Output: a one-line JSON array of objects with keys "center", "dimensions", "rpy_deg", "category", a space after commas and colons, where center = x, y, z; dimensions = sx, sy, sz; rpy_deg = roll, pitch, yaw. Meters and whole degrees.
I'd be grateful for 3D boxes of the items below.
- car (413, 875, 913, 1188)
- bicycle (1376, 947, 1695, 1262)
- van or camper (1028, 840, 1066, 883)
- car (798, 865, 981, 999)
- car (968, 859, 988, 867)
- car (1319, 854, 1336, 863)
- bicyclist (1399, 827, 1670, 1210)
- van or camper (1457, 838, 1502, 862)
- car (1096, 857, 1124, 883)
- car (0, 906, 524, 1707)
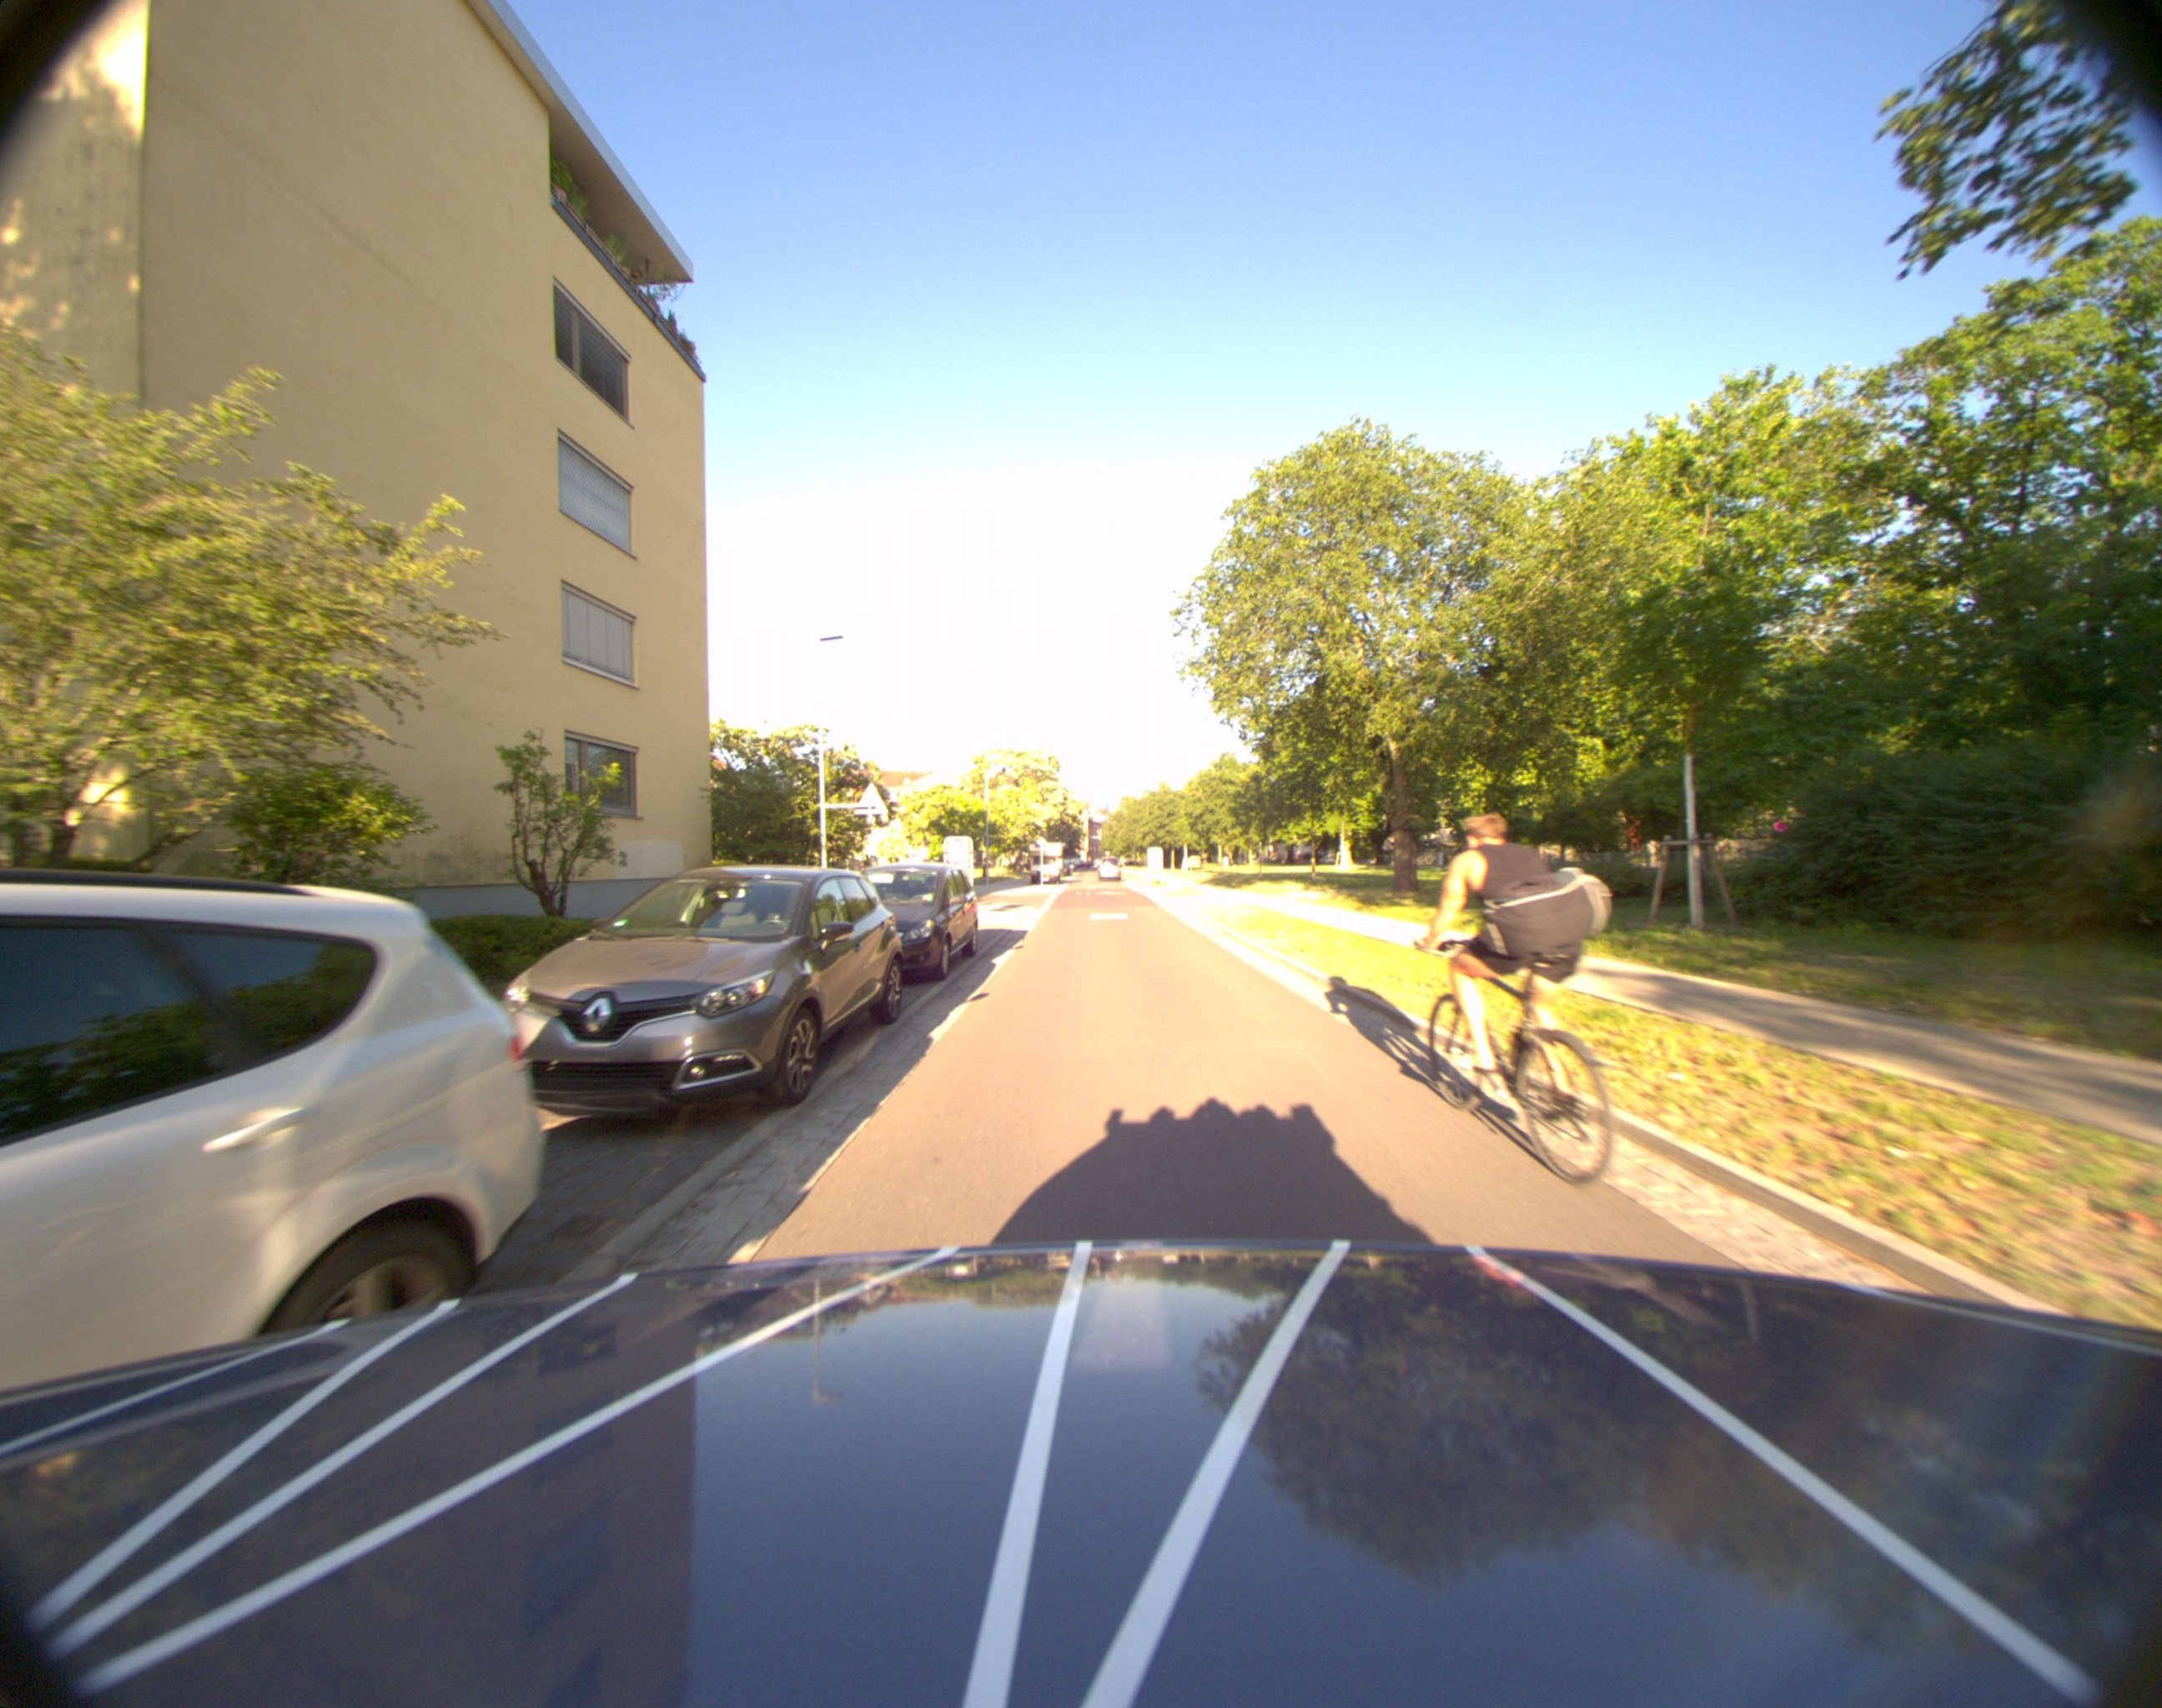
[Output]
[{"center": [-2.650, 0.990, 6.061], "dimensions": [1.683, 1.546, 4.144], "rpy_deg": [0, 0, 0], "category": "car"}, {"center": [2.215, 1.136, 4.040], "dimensions": [0.558, 1.026, 1.914], "rpy_deg": [-1, 1, 0], "category": "bicycle"}, {"center": [-2.298, 0.478, 52.962], "dimensions": [2.427, 2.766, 5.952], "rpy_deg": [1, 0, -1], "category": "van or camper"}, {"center": [-2.632, 0.988, 11.447], "dimensions": [1.714, 1.601, 4.168], "rpy_deg": [1, 0, 0], "category": "car"}, {"center": [-20.680, 1.838, 152.445], "dimensions": [3.707, 1.490, 1.724], "rpy_deg": [-2, 0, -17], "category": "car"}, {"center": [44.300, 0.809, 136.727], "dimensions": [1.796, 1.455, 4.000], "rpy_deg": [-2, 0, 0], "category": "car"}, {"center": [2.204, 0.709, 3.872], "dimensions": [0.683, 1.663, 1.172], "rpy_deg": [0, 1, 0], "category": "bicyclist"}, {"center": [43.602, -0.414, 83.327], "dimensions": [1.999, 2.425, 5.466], "rpy_deg": [-1, 0, -1], "category": "van or camper"}, {"center": [2.167, 1.161, 57.646], "dimensions": [1.849, 1.837, 4.572], "rpy_deg": [0, 0, -2], "category": "car"}, {"center": [-2.725, 0.940, 0.432], "dimensions": [1.683, 1.546, 4.130], "rpy_deg": [0, 0, 2], "category": "car"}]
